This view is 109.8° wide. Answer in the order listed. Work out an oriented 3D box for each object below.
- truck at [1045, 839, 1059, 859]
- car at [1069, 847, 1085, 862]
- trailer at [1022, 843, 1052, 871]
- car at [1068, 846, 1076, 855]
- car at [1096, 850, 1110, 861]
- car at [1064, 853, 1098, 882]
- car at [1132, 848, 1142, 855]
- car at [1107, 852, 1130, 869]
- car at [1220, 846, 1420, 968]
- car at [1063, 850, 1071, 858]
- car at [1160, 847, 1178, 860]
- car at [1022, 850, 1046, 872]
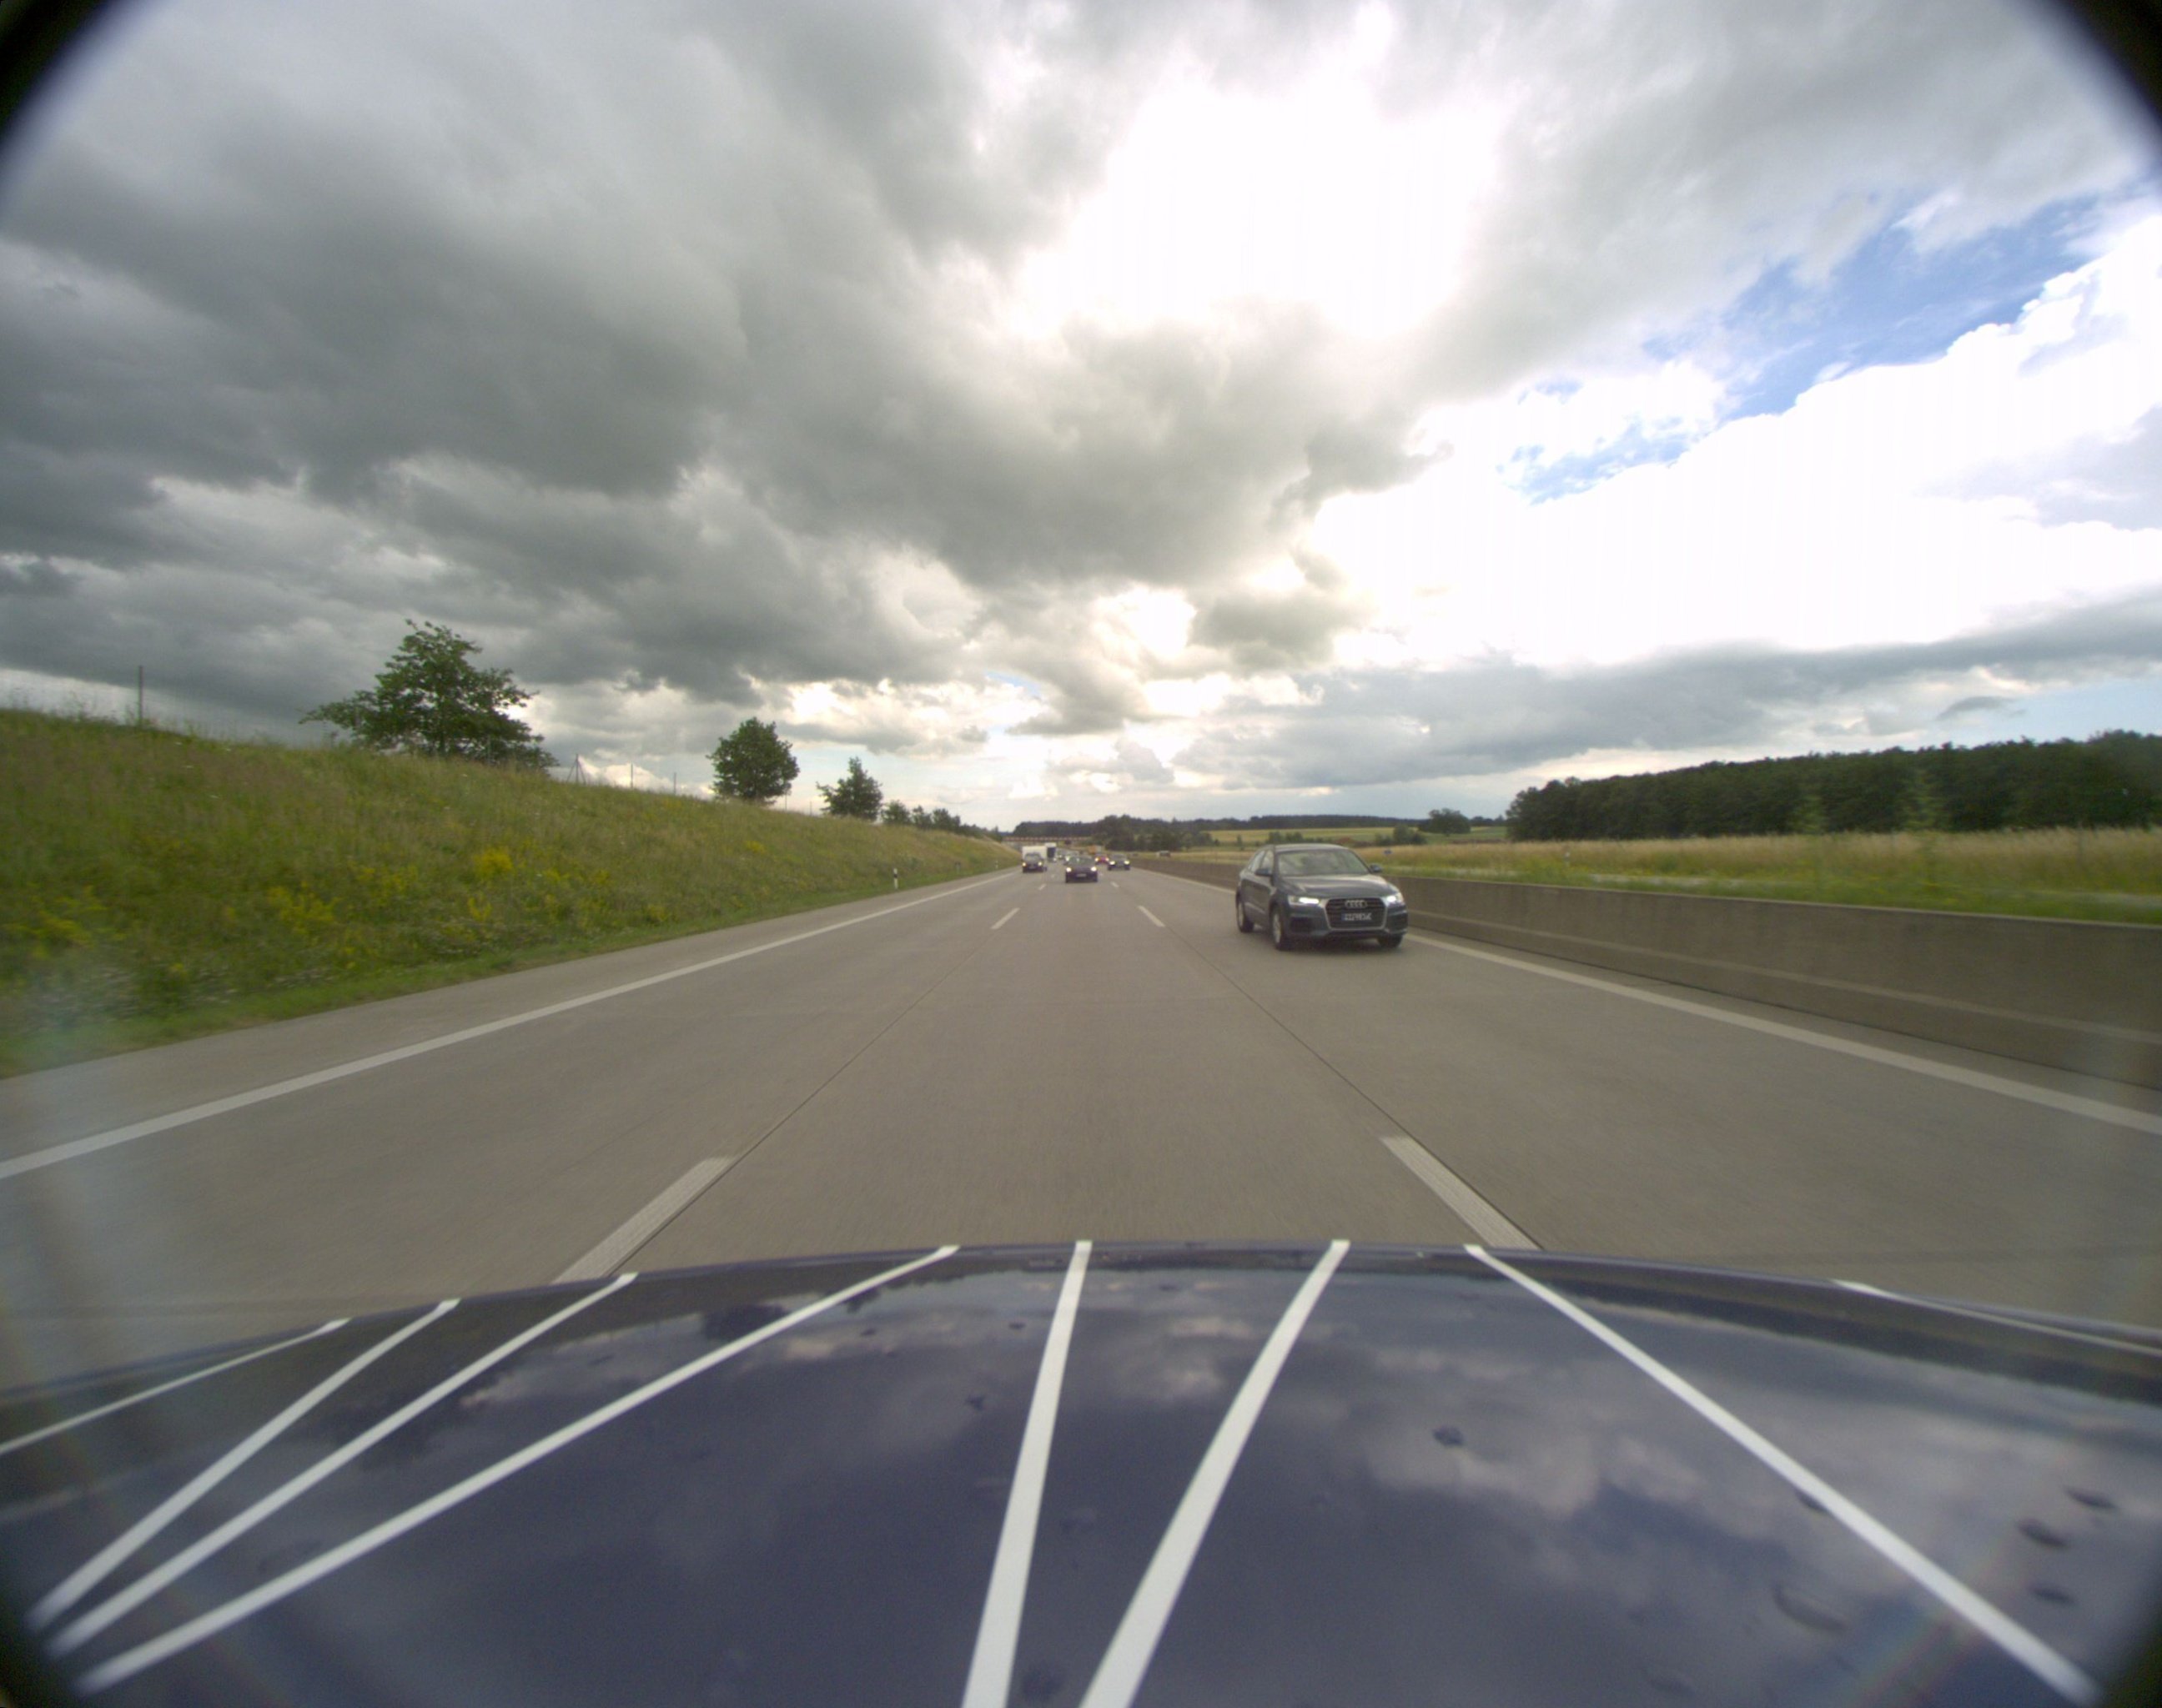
[{"bbox_3d":[-6.263,-1.023,162.322,2.855,4.176,10.706,-2,0,-3],"label":"truck"},{"bbox_3d":[-0.627,0.032,108.393,1.999,2.002,3.999,-2,0,-3],"label":"car"},{"bbox_3d":[-4.239,0.230,74.643,2.615,2.520,6.719,-2,1,-2],"label":"trailer"},{"bbox_3d":[-2.027,-0.757,173.036,1.810,2.002,3.841,-3,1,-1],"label":"car"},{"bbox_3d":[3.025,0.203,103.523,1.821,1.364,3.783,-3,1,3],"label":"car"},{"bbox_3d":[-0.053,0.716,41.516,1.691,1.405,3.999,-2,1,-2],"label":"car"},{"bbox_3d":[13.085,-0.622,178.852,1.999,1.674,4.062,-2,0,0],"label":"car"},{"bbox_3d":[3.303,0.561,67.574,1.939,1.464,4.000,-2,0,3],"label":"car"},{"bbox_3d":[3.697,0.697,12.836,1.797,1.587,5.157,-2,1,1],"label":"car"},{"bbox_3d":[-3.687,0.050,202.772,1.999,2.002,3.999,-2,1,-1],"label":"car"},{"bbox_3d":[11.755,-0.114,101.822,1.998,1.630,4.397,-2,0,0],"label":"car"},{"bbox_3d":[-4.186,0.564,68.767,1.944,1.799,5.030,-2,1,-2],"label":"car"}]
